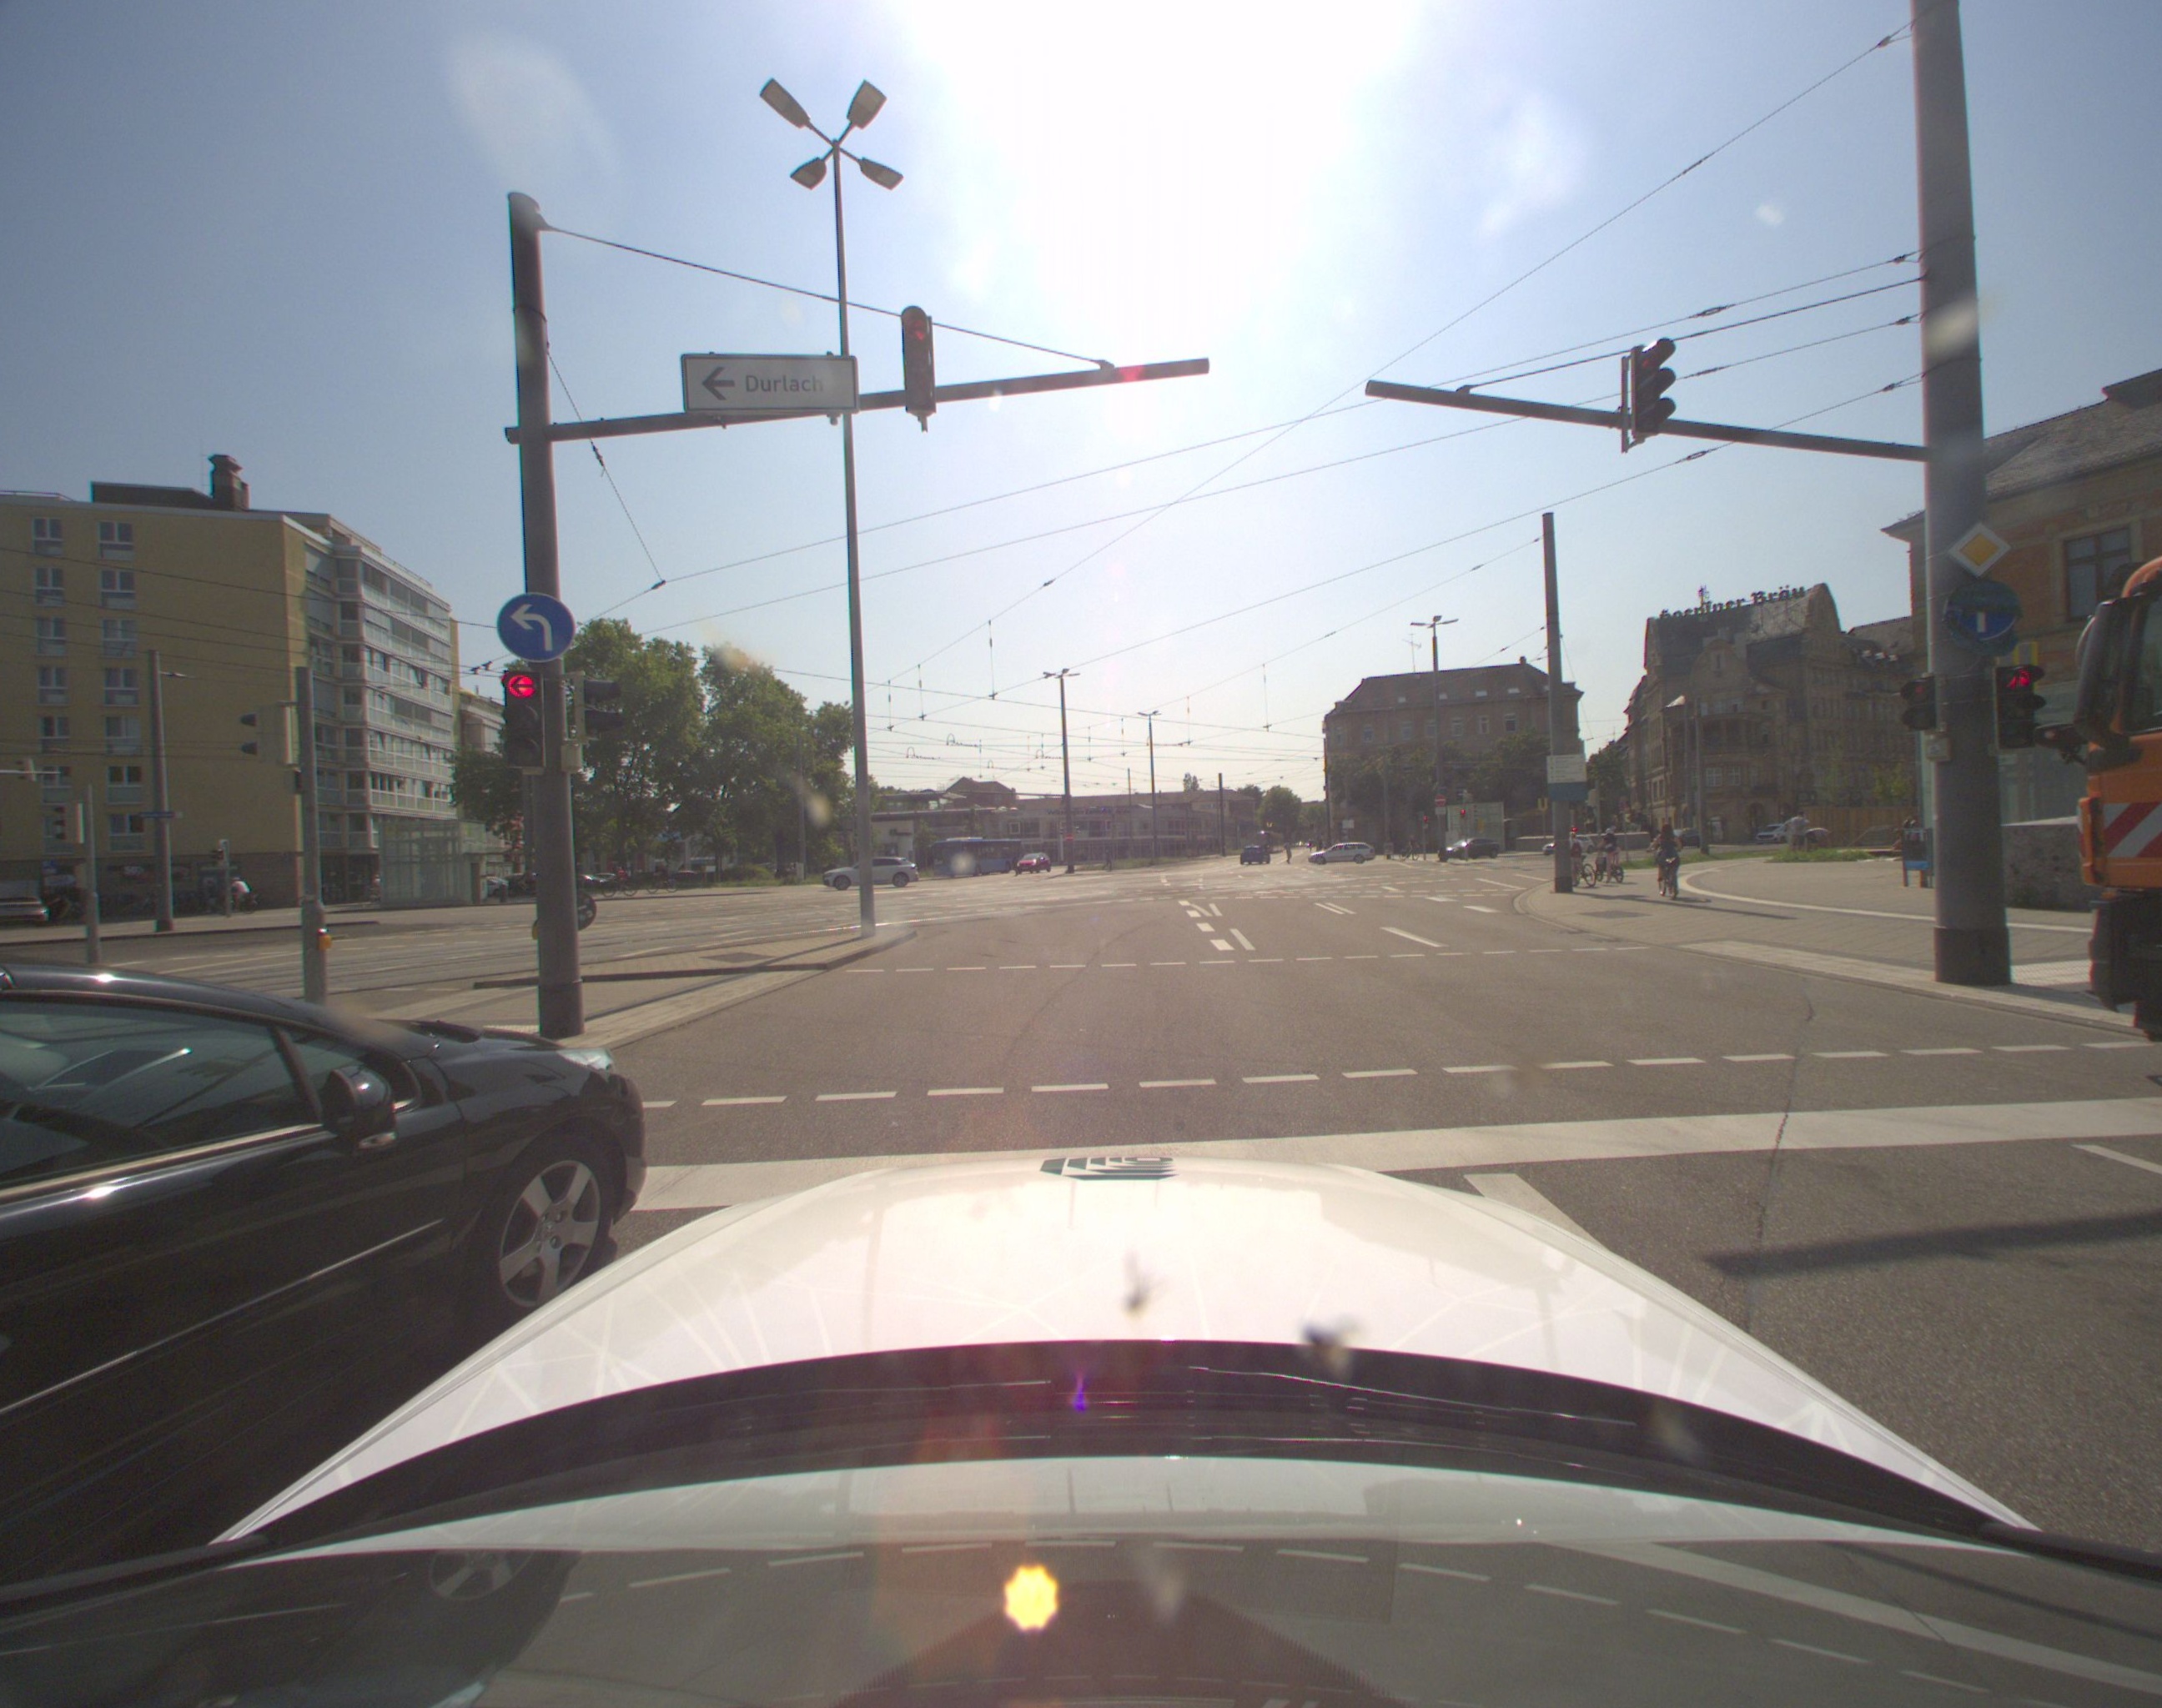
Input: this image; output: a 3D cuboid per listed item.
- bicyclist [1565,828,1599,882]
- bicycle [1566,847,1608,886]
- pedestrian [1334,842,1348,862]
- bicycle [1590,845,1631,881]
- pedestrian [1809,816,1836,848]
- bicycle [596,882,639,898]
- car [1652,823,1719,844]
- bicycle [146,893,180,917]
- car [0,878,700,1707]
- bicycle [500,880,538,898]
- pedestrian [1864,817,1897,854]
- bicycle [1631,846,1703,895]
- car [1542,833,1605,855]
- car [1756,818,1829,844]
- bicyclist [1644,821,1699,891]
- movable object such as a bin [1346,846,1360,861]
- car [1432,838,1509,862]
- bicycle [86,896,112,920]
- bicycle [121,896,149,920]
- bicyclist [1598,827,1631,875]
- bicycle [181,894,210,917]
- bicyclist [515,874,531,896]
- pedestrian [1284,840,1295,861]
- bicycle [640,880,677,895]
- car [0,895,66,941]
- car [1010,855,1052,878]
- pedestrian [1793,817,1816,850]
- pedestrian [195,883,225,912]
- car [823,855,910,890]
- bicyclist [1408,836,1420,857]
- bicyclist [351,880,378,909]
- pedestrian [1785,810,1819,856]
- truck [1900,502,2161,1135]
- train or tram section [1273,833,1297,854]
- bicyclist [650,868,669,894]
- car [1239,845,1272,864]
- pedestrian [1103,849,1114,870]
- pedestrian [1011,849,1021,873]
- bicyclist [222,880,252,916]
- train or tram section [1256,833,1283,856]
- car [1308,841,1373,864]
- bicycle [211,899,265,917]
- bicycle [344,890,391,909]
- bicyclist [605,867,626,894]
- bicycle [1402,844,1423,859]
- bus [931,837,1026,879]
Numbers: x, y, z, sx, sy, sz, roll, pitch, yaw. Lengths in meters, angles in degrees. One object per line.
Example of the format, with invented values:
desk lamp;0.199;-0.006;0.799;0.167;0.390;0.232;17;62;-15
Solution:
bicyclist;14.596;0.032;23.747;0.623;1.517;0.715;-2;0;14
bicycle;14.575;0.347;23.482;0.532;1.055;1.660;-2;0;14
pedestrian;20.197;-0.174;63.172;0.849;1.545;0.527;-2;0;-6
bicycle;16.283;0.263;25.066;0.532;1.055;1.660;-2;0;14
pedestrian;29.154;-0.847;32.039;0.658;1.214;0.531;-2;0;30
bicycle;-26.459;2.049;46.511;2.049;0.802;0.478;-2;0;-11
car;47.972;-1.628;64.684;4.624;1.505;1.987;-2;0;-19
bicycle;-50.332;2.801;44.629;3.220;1.204;0.916;-3;0;36
car;-2.684;0.810;1.625;1.757;1.388;3.787;-1;0;6
bicycle;-33.169;2.051;48.090;1.814;0.942;0.414;-2;0;-11
pedestrian;31.734;-0.733;32.327;0.768;1.399;0.687;-2;0;-23
bicycle;13.358;0.358;18.621;0.489;1.055;1.826;-2;0;7
car;36.001;-0.747;59.533;4.207;1.415;1.762;-2;0;-24
car;60.888;-1.930;69.720;4.602;2.013;1.997;-2;0;-5
bicyclist;13.332;0.038;18.402;0.730;1.517;0.665;-2;0;6
movable object such as a bin;20.979;-0.043;62.853;0.812;1.077;0.510;-2;0;-9
car;26.289;-0.300;54.954;4.766;1.415;1.765;-2;0;-18
bicycle;-53.062;2.914;43.987;2.754;1.204;0.699;-3;0;36
bicycle;-51.392;2.940;44.223;3.220;1.204;0.699;-3;0;36
bicyclist;16.176;-0.089;24.689;0.526;1.393;0.897;-2;0;14
bicycle;-48.808;2.849;44.866;3.220;1.204;0.699;-3;0;36
bicyclist;-32.941;1.833;48.066;0.544;1.293;0.557;-2;0;-9
pedestrian;16.501;-0.260;64.434;0.699;1.603;0.572;-2;0;-6
bicycle;-25.264;1.985;48.758;1.860;0.802;0.604;-2;0;-17
car;-48.159;2.894;37.295;3.949;1.925;1.815;-3;0;42
car;-3.843;0.956;63.734;1.735;1.552;4.020;-3;0;20
pedestrian;36.179;-1.033;40.719;0.794;1.575;0.729;-2;0;-44
pedestrian;-48.224;2.390;45.095;0.858;1.543;0.739;-2;0;-18
car;-11.295;0.966;42.980;4.331;1.618;1.745;-2;0;-17
bicyclist;24.449;-0.561;59.804;0.614;1.528;0.517;-2;0;-22
bicyclist;-39.094;2.202;44.432;0.914;1.508;0.554;-2;0;-24
pedestrian;27.244;-0.792;30.781;0.549;1.724;0.812;-2;0;-39
truck;6.443;-0.174;1.918;2.481;3.134;6.869;0;0;4
train or tram section;37.352;-1.878;148.874;2.566;3.516;13.040;-2;0;21
bicyclist;-25.237;1.604;48.781;0.873;1.475;0.543;-2;0;-16
car;13.869;-0.006;64.669;1.576;1.394;4.024;-3;0;26
pedestrian;2.015;0.401;59.055;0.678;1.443;0.364;-2;0;-15
pedestrian;-4.616;0.528;57.862;0.554;1.684;0.451;-2;0;-17
bicyclist;-44.308;2.306;42.740;0.924;1.808;0.496;-2;0;-11
train or tram section;29.771;-1.499;128.556;2.566;3.516;10.955;-2;0;21
car;18.034;-0.136;56.600;4.140;1.415;1.785;-2;0;19
bicycle;-44.236;2.834;42.746;2.049;0.802;0.478;-2;0;-11
bicycle;-38.961;2.481;44.487;1.823;0.942;0.563;-2;0;-25
bicyclist;-26.567;1.516;46.479;0.871;1.483;0.495;-2;0;-11
bicycle;24.391;-0.200;59.979;0.470;1.055;1.643;-2;0;-18
bus;-8.117;0.242;67.034;2.541;3.082;12.082;-3;0;19
